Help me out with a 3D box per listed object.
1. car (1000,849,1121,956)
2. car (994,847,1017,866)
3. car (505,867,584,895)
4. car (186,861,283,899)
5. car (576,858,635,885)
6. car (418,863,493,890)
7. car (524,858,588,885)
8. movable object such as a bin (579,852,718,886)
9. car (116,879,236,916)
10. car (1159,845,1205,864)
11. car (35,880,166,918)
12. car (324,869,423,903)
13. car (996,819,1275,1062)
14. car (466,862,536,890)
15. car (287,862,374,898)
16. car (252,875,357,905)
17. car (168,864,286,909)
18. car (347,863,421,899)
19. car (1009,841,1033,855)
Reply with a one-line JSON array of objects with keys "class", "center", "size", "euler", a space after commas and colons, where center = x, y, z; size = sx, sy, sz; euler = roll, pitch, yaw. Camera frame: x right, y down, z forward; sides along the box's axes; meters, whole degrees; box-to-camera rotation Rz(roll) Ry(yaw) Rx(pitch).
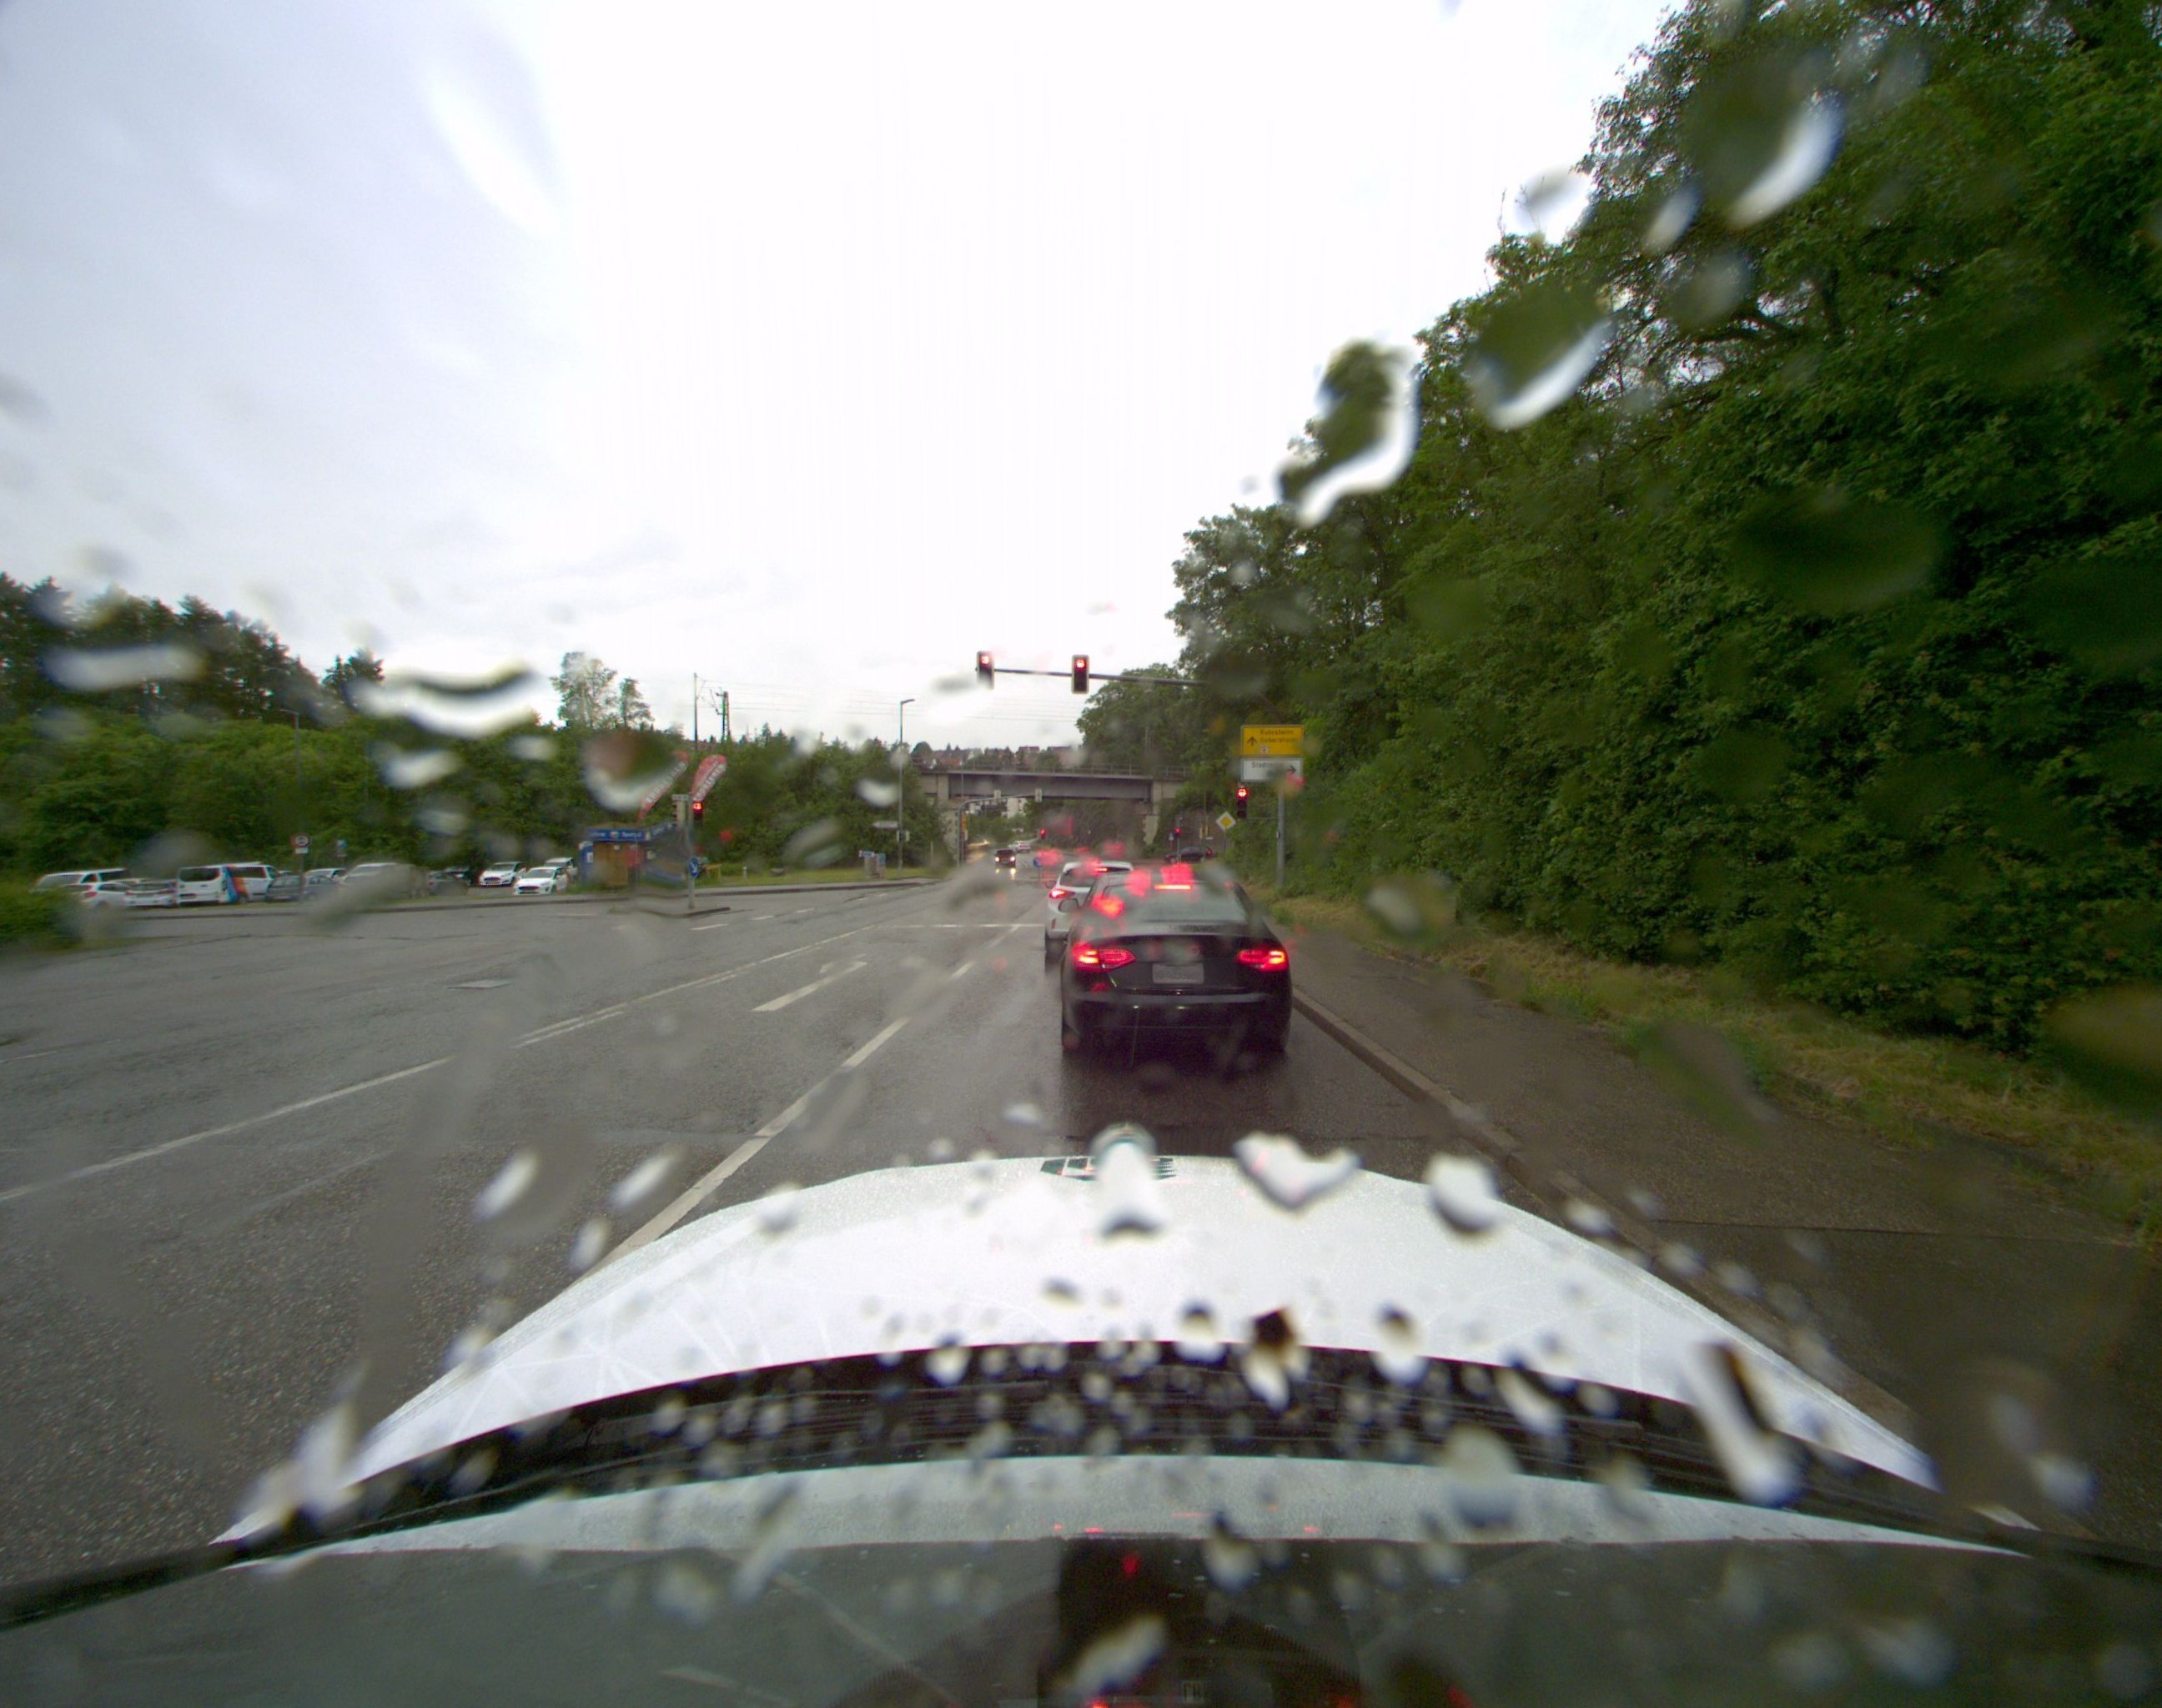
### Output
[{"class": "car", "center": [-0.249, 0.769, 14.262], "size": [1.816, 1.585, 4.001], "euler": [-1, -1, 2]}, {"class": "car", "center": [-6.989, 0.247, 75.255], "size": [1.990, 1.628, 3.993], "euler": [-1, 0, -5]}, {"class": "car", "center": [-27.726, 1.375, 42.250], "size": [1.652, 1.340, 4.883], "euler": [0, -1, -11]}, {"class": "car", "center": [-49.301, 1.469, 47.545], "size": [1.995, 2.013, 3.983], "euler": [-1, 0, -12]}, {"class": "car", "center": [-30.389, 1.067, 52.132], "size": [1.994, 1.585, 3.985], "euler": [-2, 0, -11]}, {"class": "car", "center": [-37.963, 1.353, 49.570], "size": [1.994, 1.585, 3.984], "euler": [0, -1, -11]}, {"class": "car", "center": [-32.626, 1.067, 50.730], "size": [1.994, 1.585, 3.985], "euler": [-2, 0, -11]}, {"class": "movable object such as a bin", "center": [-22.526, 0.765, 42.617], "size": [2.716, 1.628, 5.816], "euler": [-2, -1, 41]}, {"class": "car", "center": [-41.745, 1.962, 37.710], "size": [1.858, 1.585, 3.978], "euler": [0, -1, -16]}, {"class": "car", "center": [9.029, 0.010, 72.724], "size": [3.964, 1.596, 2.005], "euler": [-2, 0, 8]}, {"class": "car", "center": [-44.379, 1.999, 37.003], "size": [1.837, 1.585, 3.978], "euler": [0, -1, -16]}, {"class": "car", "center": [-34.638, 1.544, 40.026], "size": [1.937, 1.585, 3.892], "euler": [0, -1, -11]}, {"class": "car", "center": [0.427, 0.622, 7.510], "size": [1.863, 1.617, 4.001], "euler": [-1, -1, 2]}, {"class": "car", "center": [-35.410, 1.327, 49.839], "size": [1.994, 1.585, 3.984], "euler": [0, -1, -11]}, {"class": "car", "center": [-44.783, 1.511, 48.710], "size": [1.995, 2.013, 3.983], "euler": [-2, 0, -12]}, {"class": "car", "center": [-37.180, 1.694, 39.131], "size": [1.751, 1.310, 3.984], "euler": [0, -1, -11]}, {"class": "car", "center": [-39.458, 1.488, 37.789], "size": [1.997, 1.949, 3.978], "euler": [0, -1, -16]}, {"class": "car", "center": [-42.183, 1.580, 49.387], "size": [1.941, 2.013, 3.849], "euler": [0, 0, -15]}, {"class": "car", "center": [-8.140, -0.795, 110.103], "size": [1.813, 1.742, 4.445], "euler": [0, -1, -24]}]
